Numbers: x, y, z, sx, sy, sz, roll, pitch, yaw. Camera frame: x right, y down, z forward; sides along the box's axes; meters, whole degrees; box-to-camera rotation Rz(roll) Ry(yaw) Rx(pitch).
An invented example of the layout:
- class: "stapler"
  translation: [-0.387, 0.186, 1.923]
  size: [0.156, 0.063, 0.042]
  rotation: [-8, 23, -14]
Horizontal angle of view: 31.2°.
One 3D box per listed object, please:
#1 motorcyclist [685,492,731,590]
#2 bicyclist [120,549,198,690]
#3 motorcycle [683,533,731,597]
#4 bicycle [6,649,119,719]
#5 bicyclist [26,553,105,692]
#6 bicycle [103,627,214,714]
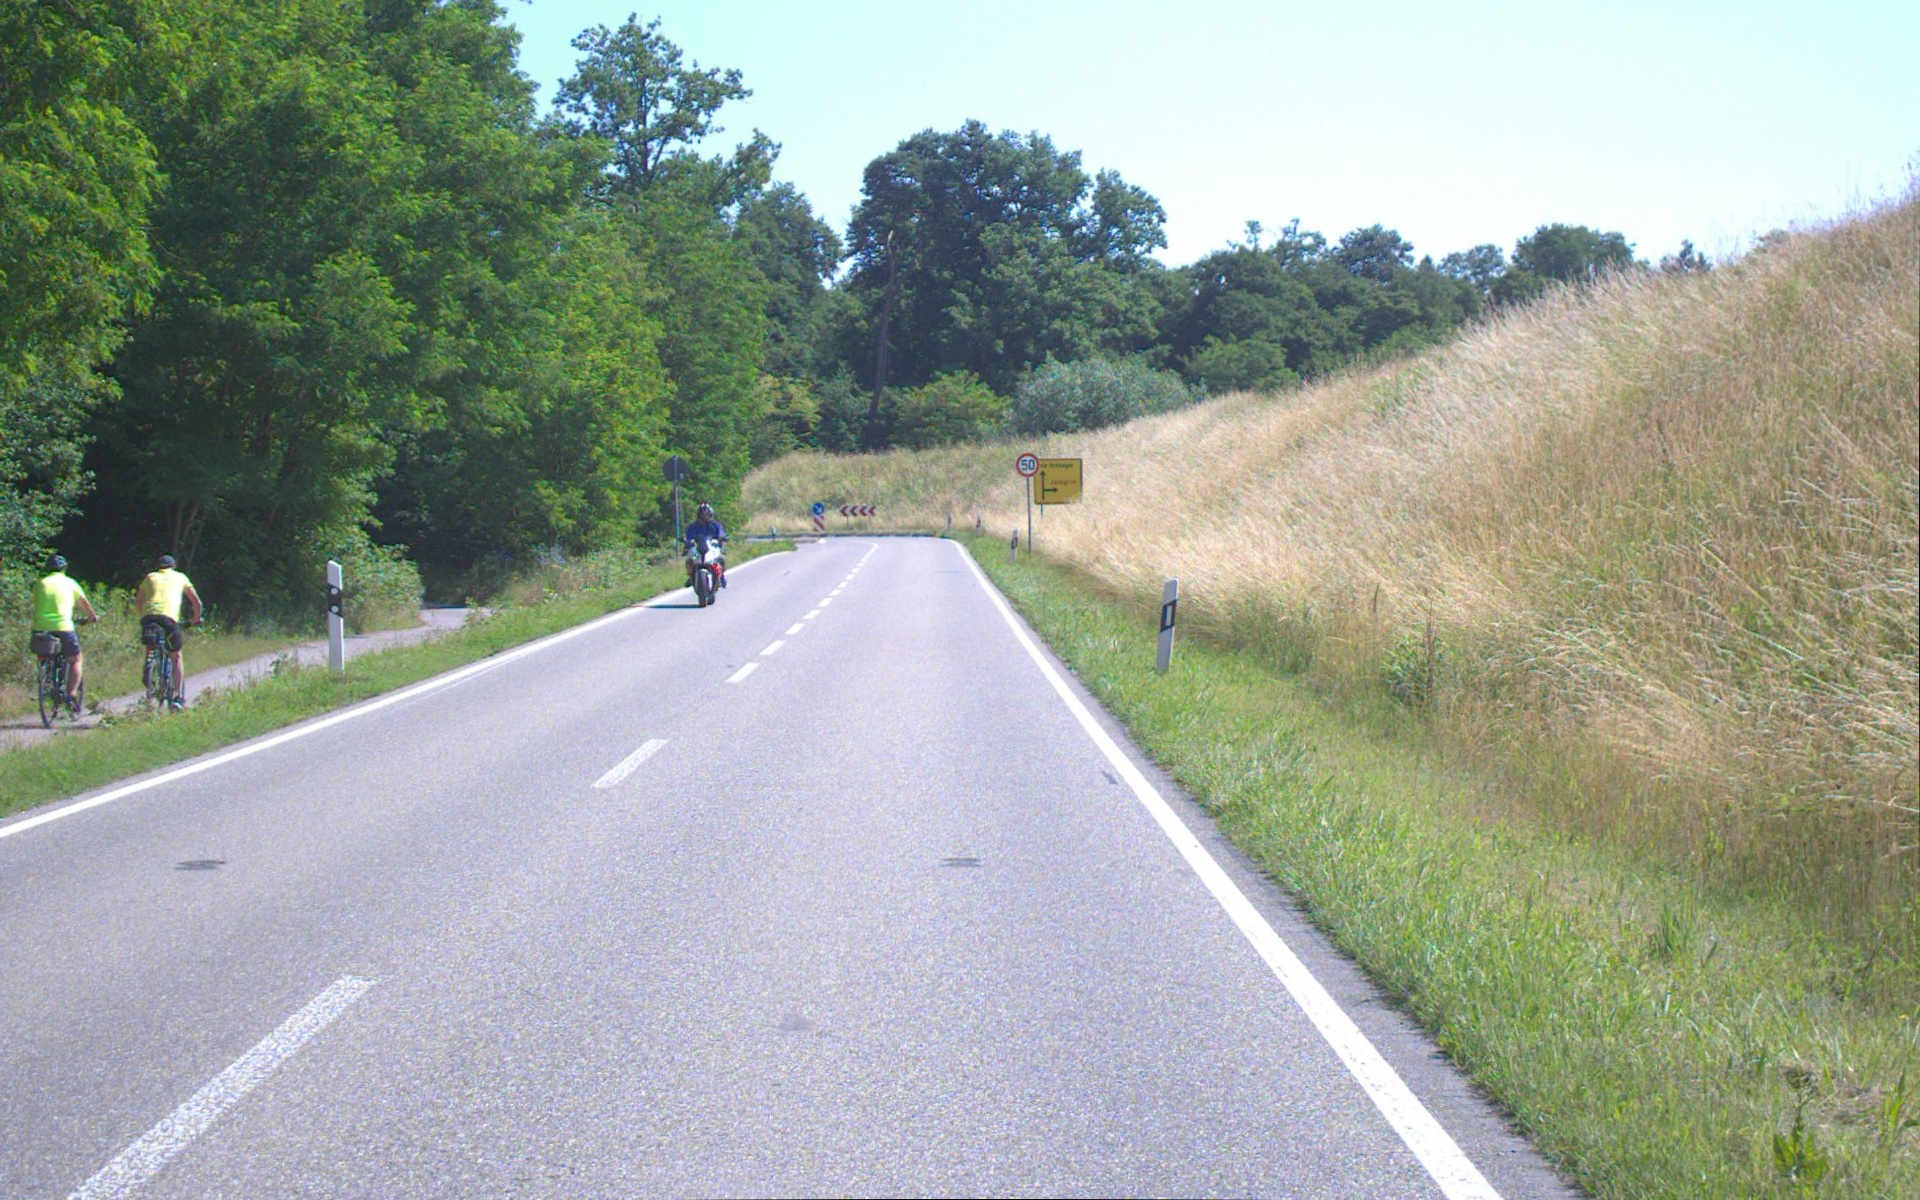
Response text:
- class: "motorcyclist"
  translation: [-3.975, -0.924, 54.242]
  size: [0.659, 1.523, 0.814]
  rotation: [2, -1, -2]
- class: "bicyclist"
  translation: [-8.237, 0.191, 35.377]
  size: [0.605, 1.410, 0.703]
  rotation: [-2, 1, -1]
- class: "motorcycle"
  translation: [-3.979, -0.554, 54.173]
  size: [0.639, 0.981, 2.006]
  rotation: [0, 1, -1]
- class: "bicycle"
  translation: [-9.254, 0.856, 35.508]
  size: [0.619, 0.679, 2.137]
  rotation: [1, -1, -1]
- class: "bicyclist"
  translation: [-9.234, 0.231, 35.514]
  size: [0.605, 1.411, 0.702]
  rotation: [1, -1, -1]
- class: "bicycle"
  translation: [-8.223, 0.712, 35.344]
  size: [0.640, 0.785, 2.137]
  rotation: [-2, 1, -1]
